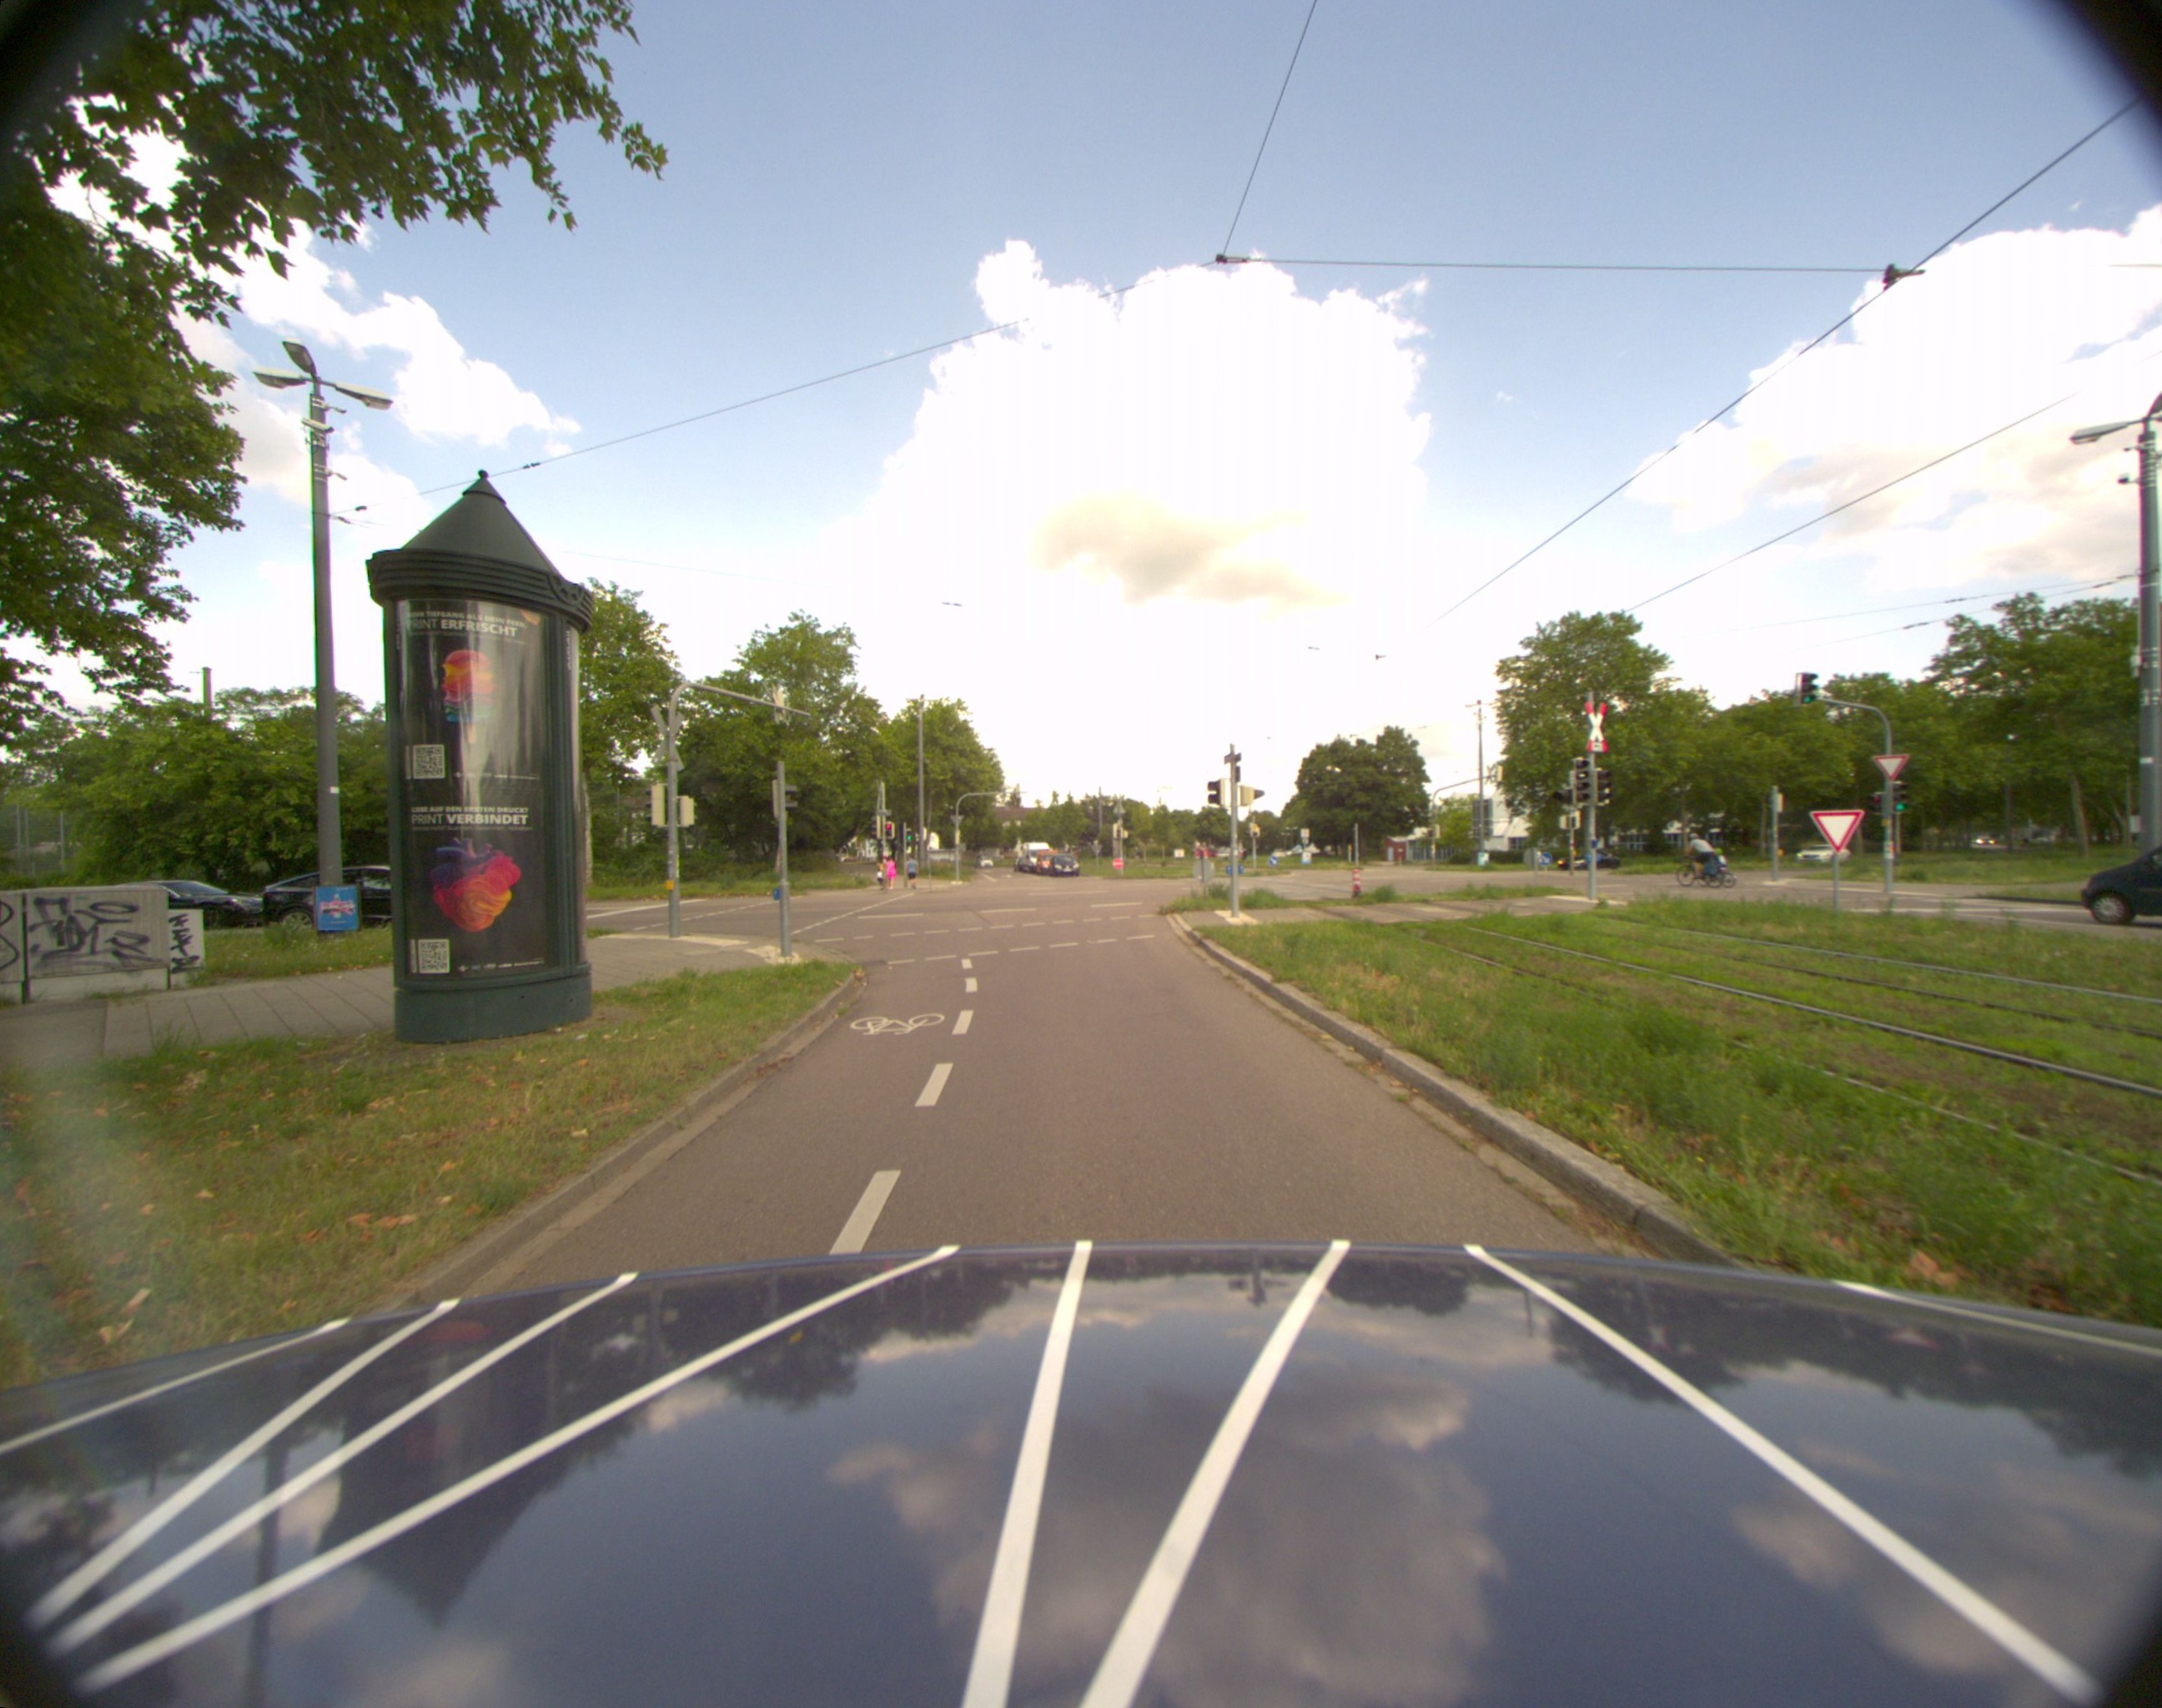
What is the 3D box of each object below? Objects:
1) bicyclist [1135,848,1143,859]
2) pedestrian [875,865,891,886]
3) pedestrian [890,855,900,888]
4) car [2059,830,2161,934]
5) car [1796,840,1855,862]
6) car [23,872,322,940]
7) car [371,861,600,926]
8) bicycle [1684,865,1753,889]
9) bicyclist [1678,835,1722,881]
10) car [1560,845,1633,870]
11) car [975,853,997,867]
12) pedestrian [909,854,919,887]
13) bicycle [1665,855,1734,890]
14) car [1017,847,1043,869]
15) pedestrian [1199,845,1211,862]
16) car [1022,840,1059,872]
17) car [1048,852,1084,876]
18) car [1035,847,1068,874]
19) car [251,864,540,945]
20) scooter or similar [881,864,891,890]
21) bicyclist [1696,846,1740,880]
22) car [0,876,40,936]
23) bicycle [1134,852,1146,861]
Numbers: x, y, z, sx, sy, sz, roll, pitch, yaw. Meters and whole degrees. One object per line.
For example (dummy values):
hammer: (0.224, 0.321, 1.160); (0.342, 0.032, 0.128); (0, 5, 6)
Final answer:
bicyclist: (7.890, -0.070, 102.668); (0.805, 1.461, 0.831); (-2, -1, -18)
pedestrian: (-10.375, 1.116, 39.835); (0.723, 1.028, 0.900); (-1, 1, -12)
pedestrian: (-8.609, 0.815, 35.216); (0.419, 1.499, 0.392); (-1, 1, -13)
car: (17.739, 0.441, 11.415); (1.782, 1.617, 3.497); (-1, 1, 7)
car: (53.906, -0.243, 54.988); (3.915, 1.515, 1.696); (-1, 1, -23)
car: (-23.525, 1.304, 19.925); (4.751, 1.461, 1.997); (-1, 1, -13)
car: (-16.837, 1.062, 21.765); (4.688, 1.601, 1.997); (-1, 1, -13)
bicycle: (20.852, 0.746, 24.905); (0.647, 0.713, 1.803); (-1, 1, -6)
bicyclist: (20.164, 0.115, 24.761); (0.625, 1.449, 0.928); (-1, 1, -7)
car: (32.947, 0.203, 48.555); (3.858, 1.515, 1.697); (-1, 1, -13)
car: (-11.525, 0.724, 91.966); (1.870, 1.635, 4.227); (-2, 1, -18)
pedestrian: (-7.740, 0.762, 35.227); (0.419, 1.499, 0.450); (-1, 1, -13)
bicycle: (20.164, 0.576, 24.801); (0.647, 1.073, 1.803); (-1, 1, -7)
car: (-4.742, 0.378, 70.509); (1.797, 1.924, 4.364); (-2, 1, -12)
pedestrian: (13.499, -0.020, 82.744); (0.908, 1.857, 1.001); (-1, 1, -14)
car: (-3.510, 0.151, 64.910); (2.241, 2.492, 5.719); (-2, 1, -12)
car: (-1.098, 0.681, 52.515); (1.796, 1.530, 3.996); (-2, 1, -10)
car: (-2.311, 0.456, 58.485); (1.796, 1.924, 4.364); (-2, 1, -11)
car: (-16.041, 1.126, 18.104); (4.688, 1.601, 1.997); (-1, 1, -12)
scooter or similar: (-8.918, 1.053, 34.738); (0.395, 1.154, 1.115); (-1, 1, -16)
bicyclist: (20.848, 0.283, 24.875); (0.641, 1.106, 0.928); (-1, 1, -7)
car: (-29.993, 1.397, 18.861); (4.688, 1.505, 1.997); (-1, 1, -13)
bicycle: (7.946, 0.364, 102.528); (0.805, 1.053, 2.067); (-2, -1, -18)
